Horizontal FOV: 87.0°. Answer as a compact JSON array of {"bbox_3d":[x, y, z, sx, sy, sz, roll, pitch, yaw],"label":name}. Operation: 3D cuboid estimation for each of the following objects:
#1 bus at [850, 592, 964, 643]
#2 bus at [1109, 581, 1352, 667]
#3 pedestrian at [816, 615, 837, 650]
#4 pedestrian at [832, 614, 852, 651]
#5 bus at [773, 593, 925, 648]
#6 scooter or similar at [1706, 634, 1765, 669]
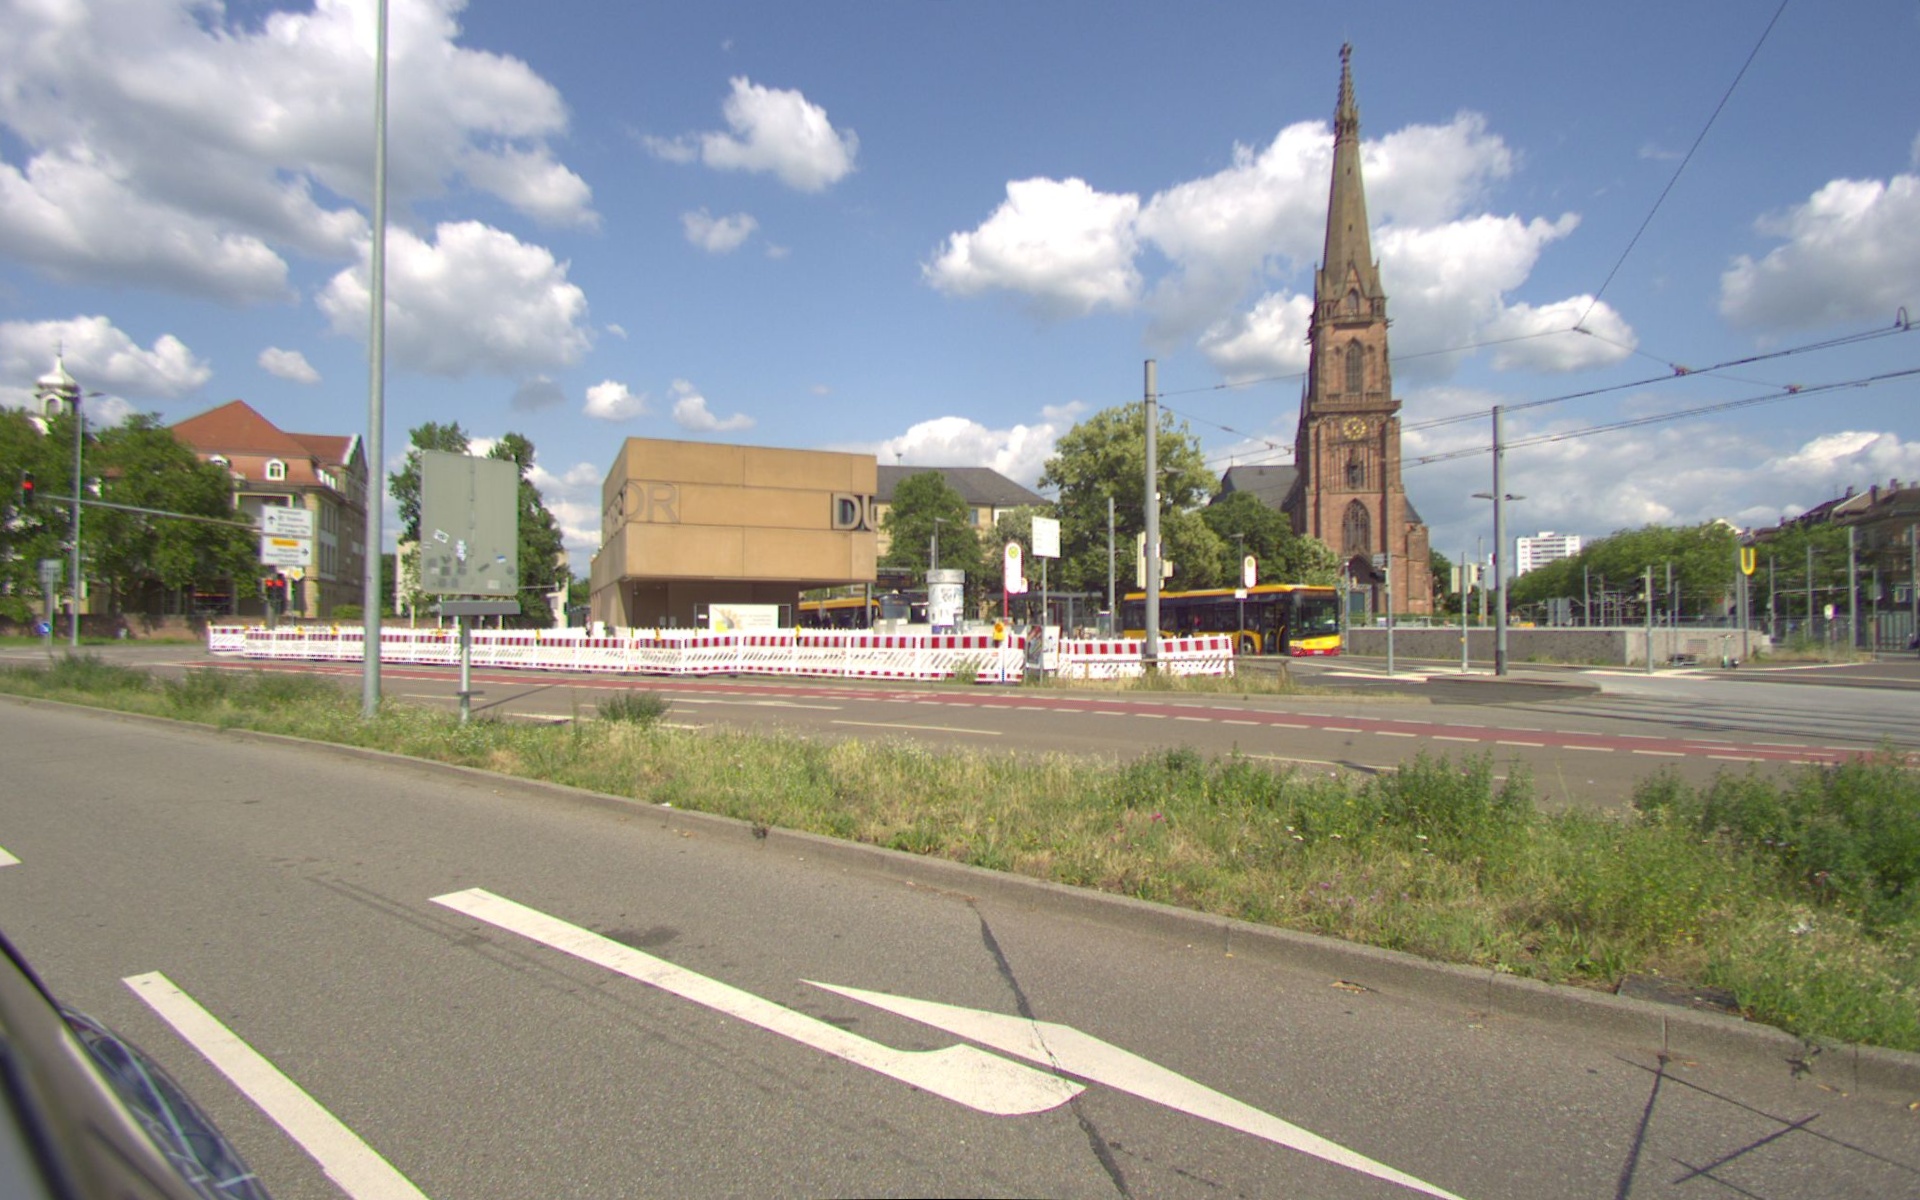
[{"bbox_3d":[-4.764,1.529,82.024,3.546,3.659,18.932,1,-2,-21],"label":"bus"},{"bbox_3d":[11.124,1.083,44.027,2.785,3.160,12.882,1,-2,-23],"label":"bus"},{"bbox_3d":[-6.416,1.554,48.566,0.761,1.644,0.647,-1,-1,25],"label":"pedestrian"},{"bbox_3d":[-5.240,1.457,45.013,0.720,1.642,0.561,1,-2,-26],"label":"pedestrian"},{"bbox_3d":[-8.481,1.510,70.453,3.416,3.208,23.856,1,-2,-24],"label":"bus"},{"bbox_3d":[26.361,1.746,34.414,1.617,1.114,0.855,-1,0,-20],"label":"scooter or similar"}]
